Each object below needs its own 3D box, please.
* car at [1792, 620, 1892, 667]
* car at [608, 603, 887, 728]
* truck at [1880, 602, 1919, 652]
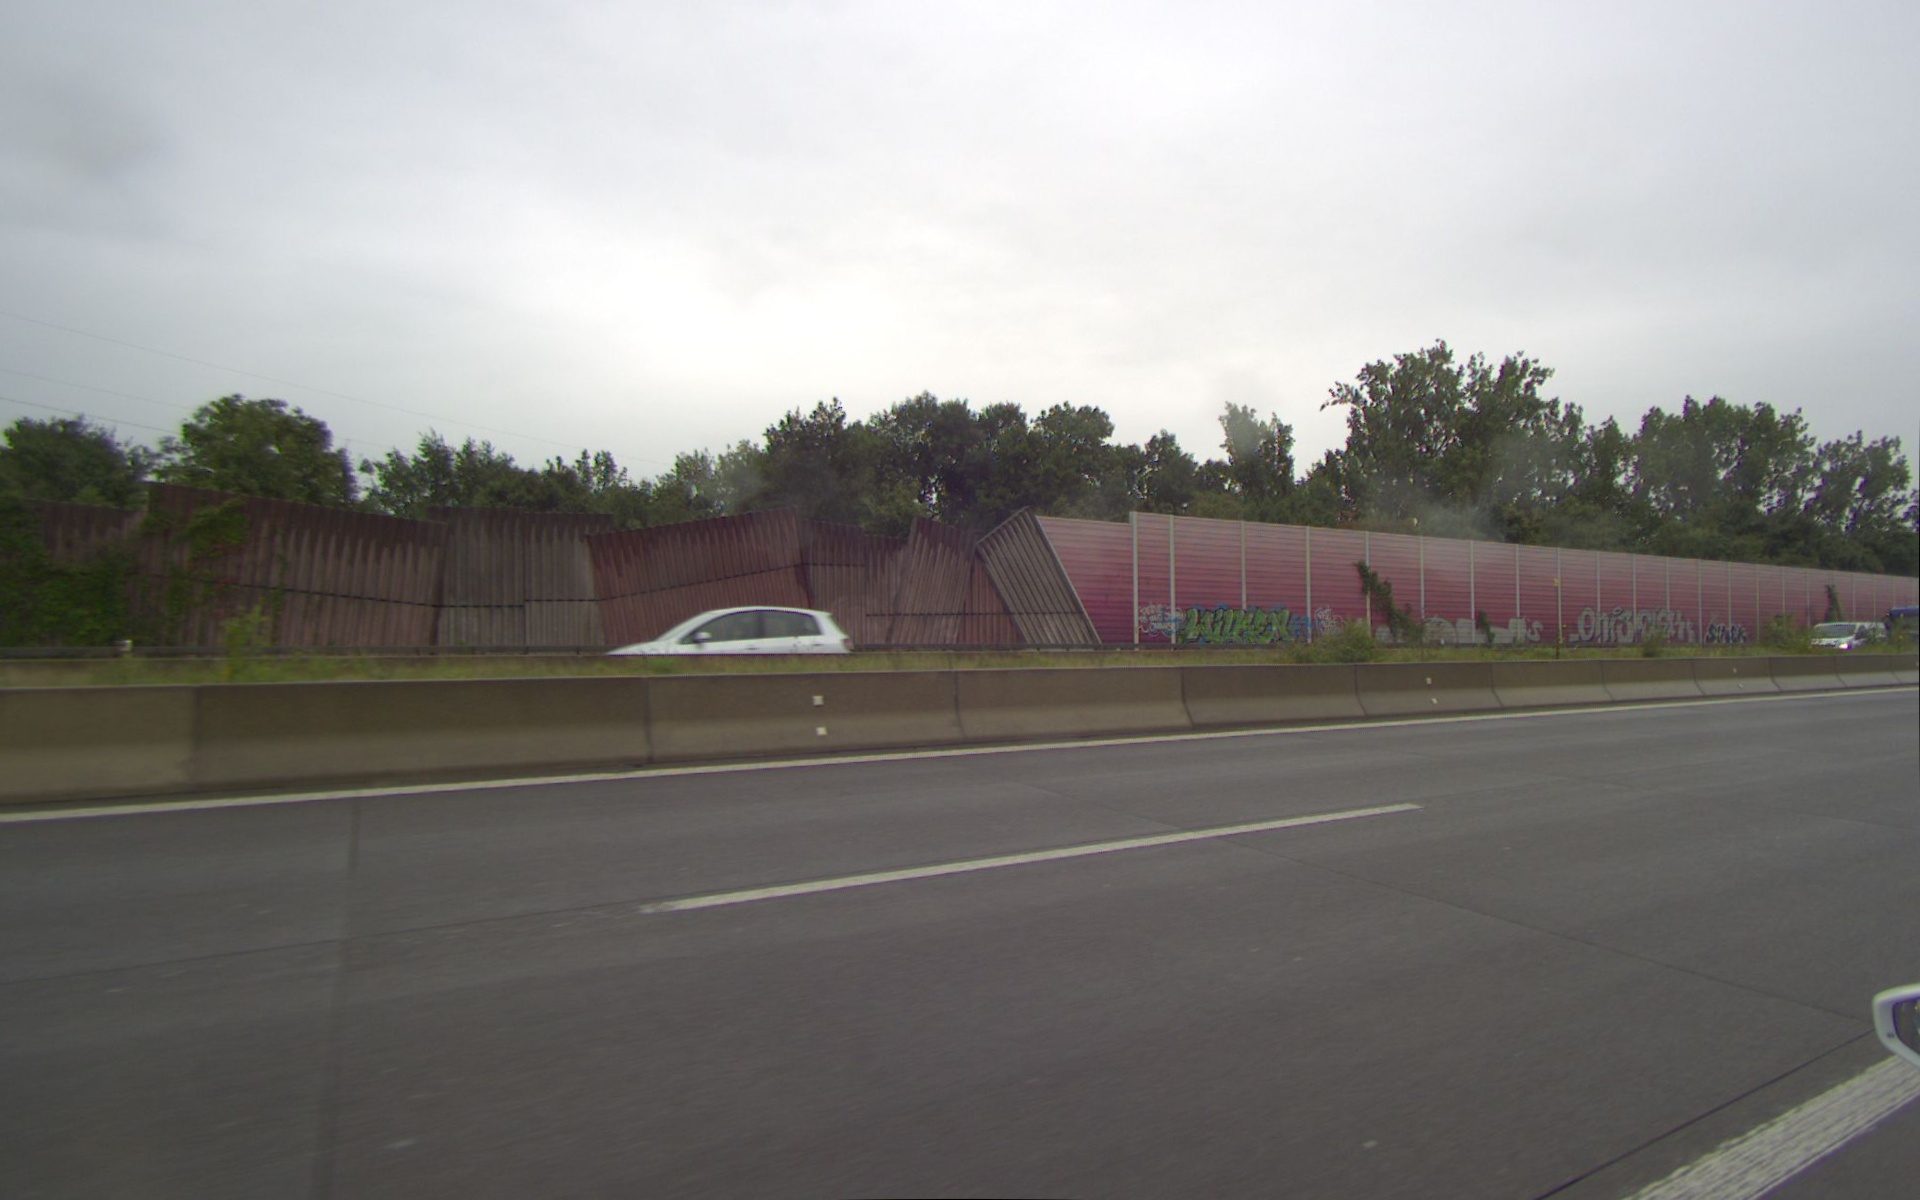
[{"bbox_3d":[41.146,1.991,46.824,5.073,2.040,1.984,1,-1,-30],"label":"car"},{"bbox_3d":[-3.343,0.966,15.935,3.952,1.762,1.845,1,-1,-30],"label":"car"},{"bbox_3d":[70.096,1.974,72.503,10.313,3.395,2.698,1,0,-31],"label":"truck"}]
